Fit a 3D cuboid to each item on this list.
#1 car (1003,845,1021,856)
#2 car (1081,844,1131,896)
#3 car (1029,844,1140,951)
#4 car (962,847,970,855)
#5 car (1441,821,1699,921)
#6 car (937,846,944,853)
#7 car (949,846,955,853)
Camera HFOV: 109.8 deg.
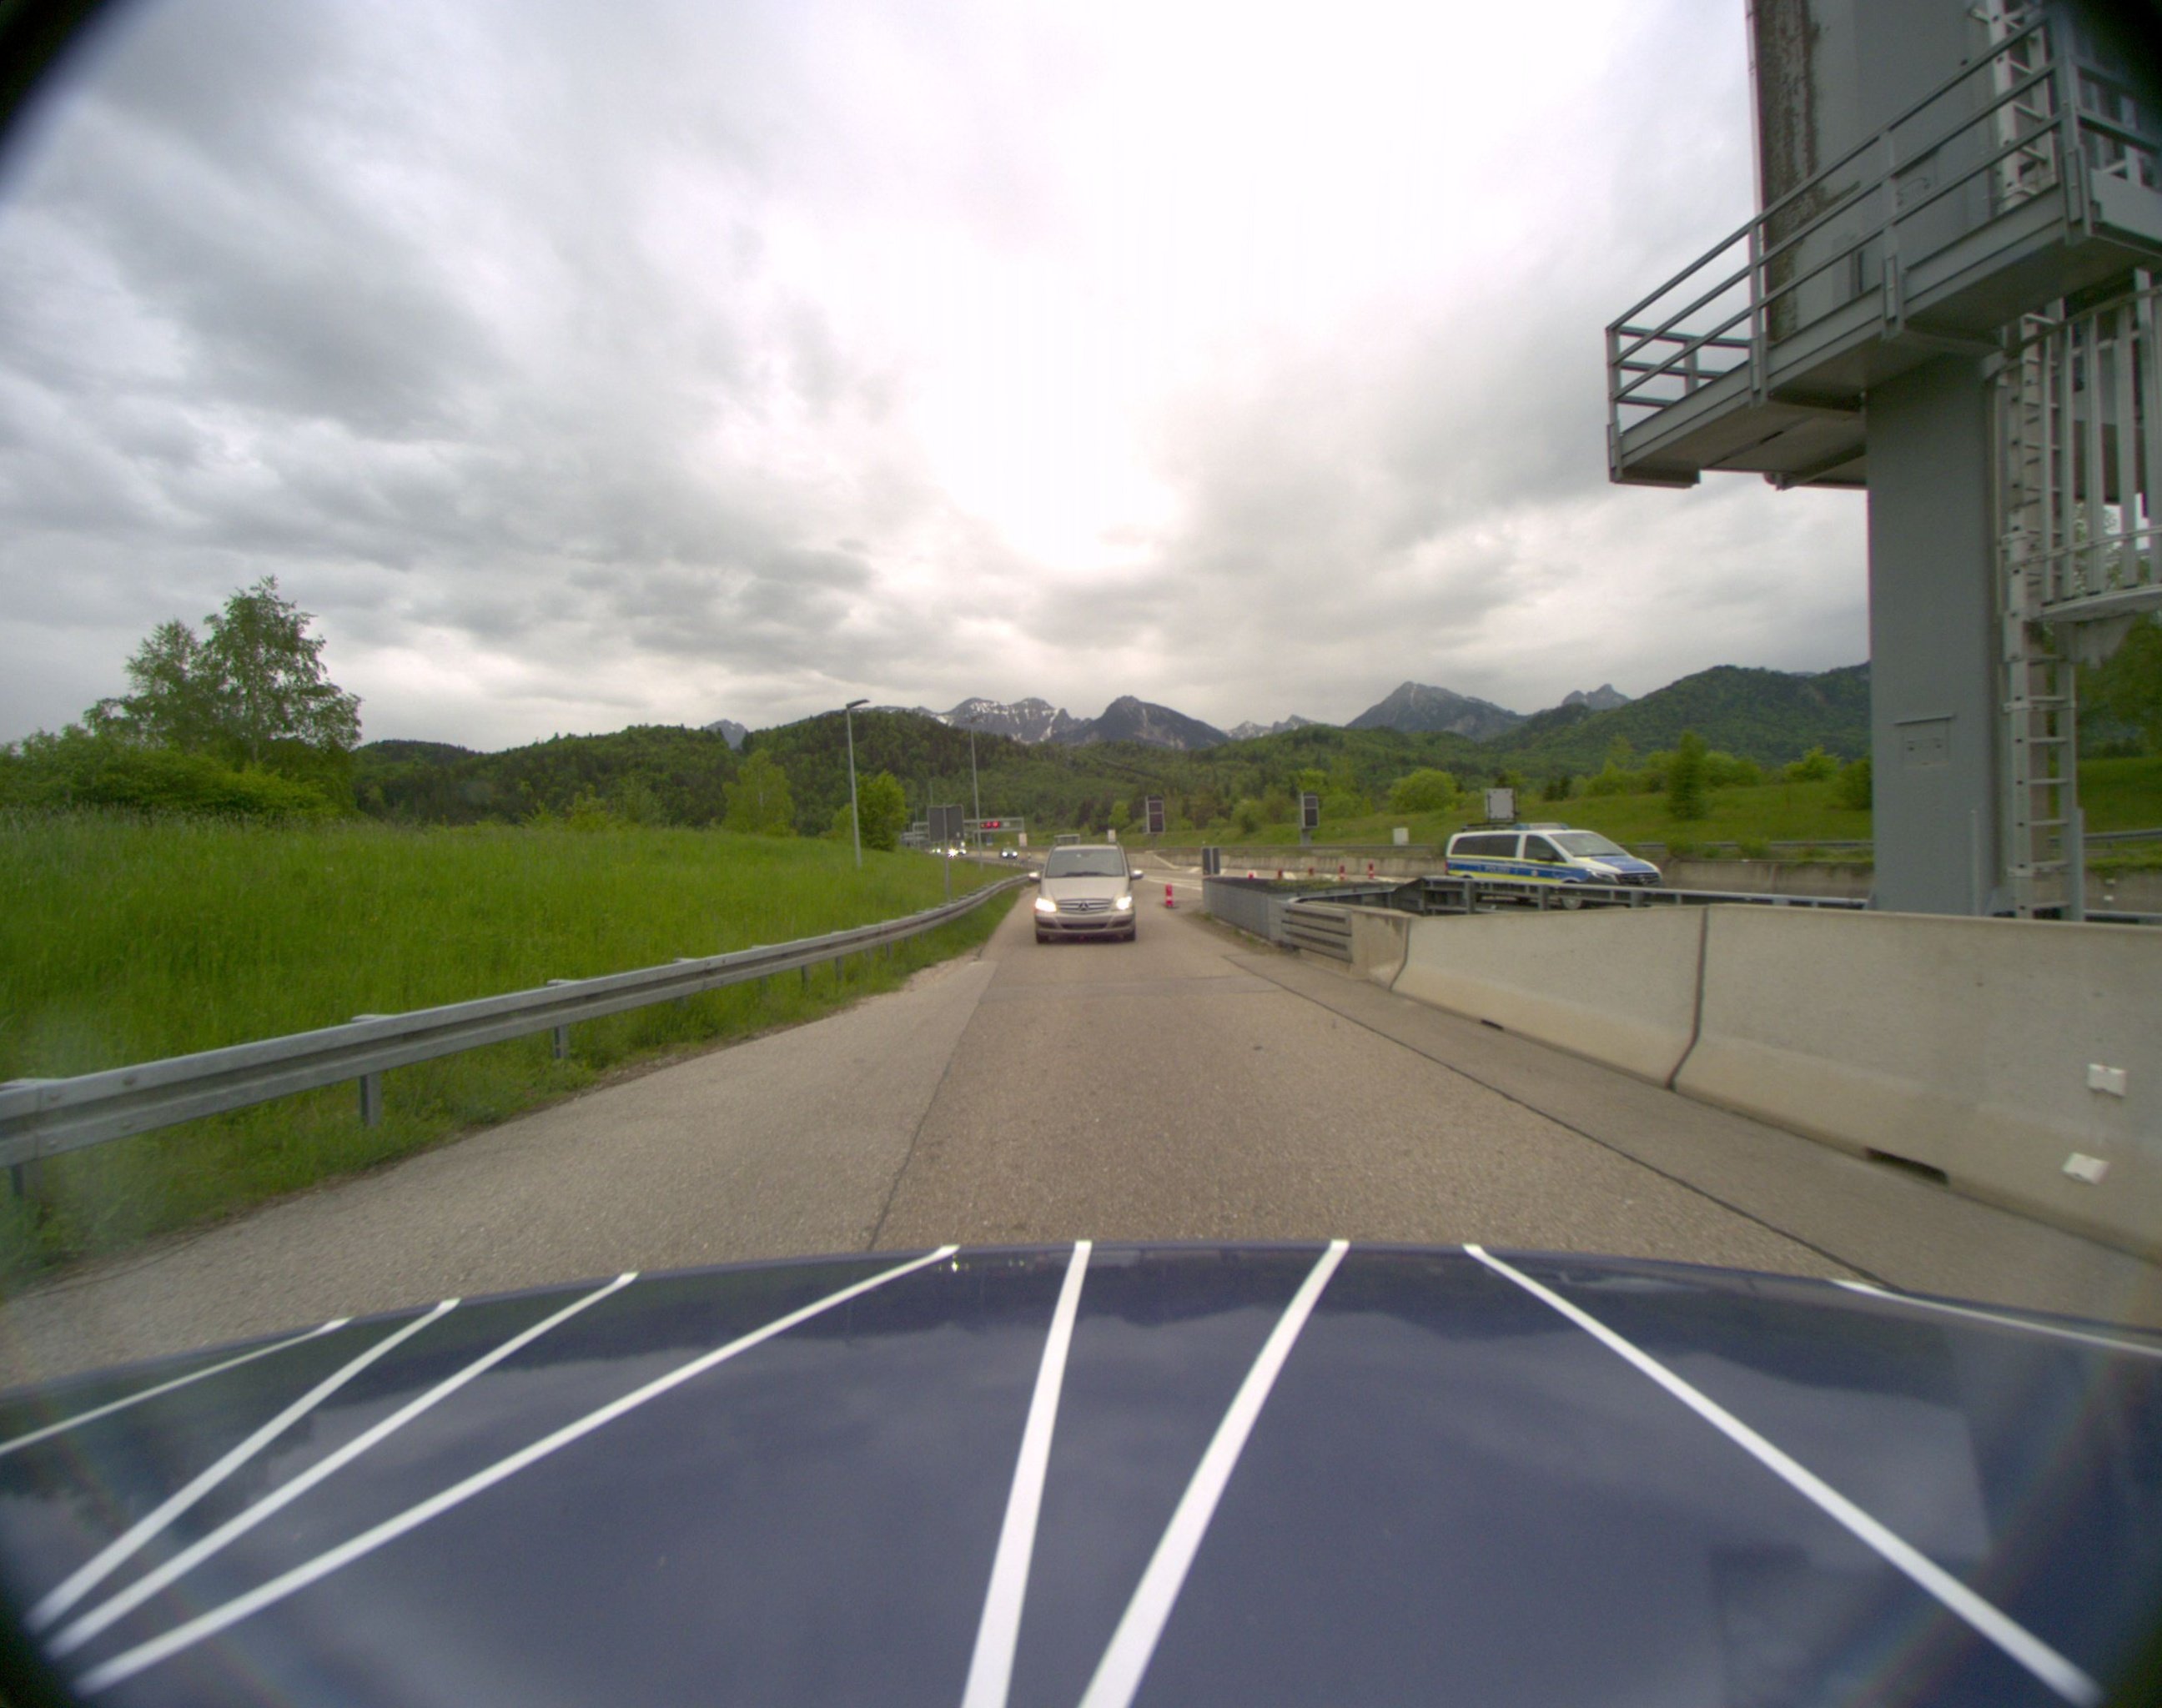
[{"bbox_3d":[-8.990,-0.427,98.858,1.665,1.329,3.787,-1,1,-14],"label":"car"},{"bbox_3d":[0.927,0.539,29.059,1.756,1.795,4.000,-1,1,1],"label":"car"},{"bbox_3d":[0.095,0.740,16.081,1.923,1.871,5.138,-1,1,1],"label":"car"},{"bbox_3d":[-25.370,-0.717,167.120,1.632,1.688,3.492,-2,1,-10],"label":"car"},{"bbox_3d":[11.396,0.306,18.272,2.294,2.002,5.043,-2,1,-13],"label":"car"},{"bbox_3d":[-45.643,-1.439,246.490,2.001,2.002,3.995,-2,1,-13],"label":"car"},{"bbox_3d":[-33.255,-1.216,195.796,1.632,1.688,3.492,-2,1,-10],"label":"car"}]
